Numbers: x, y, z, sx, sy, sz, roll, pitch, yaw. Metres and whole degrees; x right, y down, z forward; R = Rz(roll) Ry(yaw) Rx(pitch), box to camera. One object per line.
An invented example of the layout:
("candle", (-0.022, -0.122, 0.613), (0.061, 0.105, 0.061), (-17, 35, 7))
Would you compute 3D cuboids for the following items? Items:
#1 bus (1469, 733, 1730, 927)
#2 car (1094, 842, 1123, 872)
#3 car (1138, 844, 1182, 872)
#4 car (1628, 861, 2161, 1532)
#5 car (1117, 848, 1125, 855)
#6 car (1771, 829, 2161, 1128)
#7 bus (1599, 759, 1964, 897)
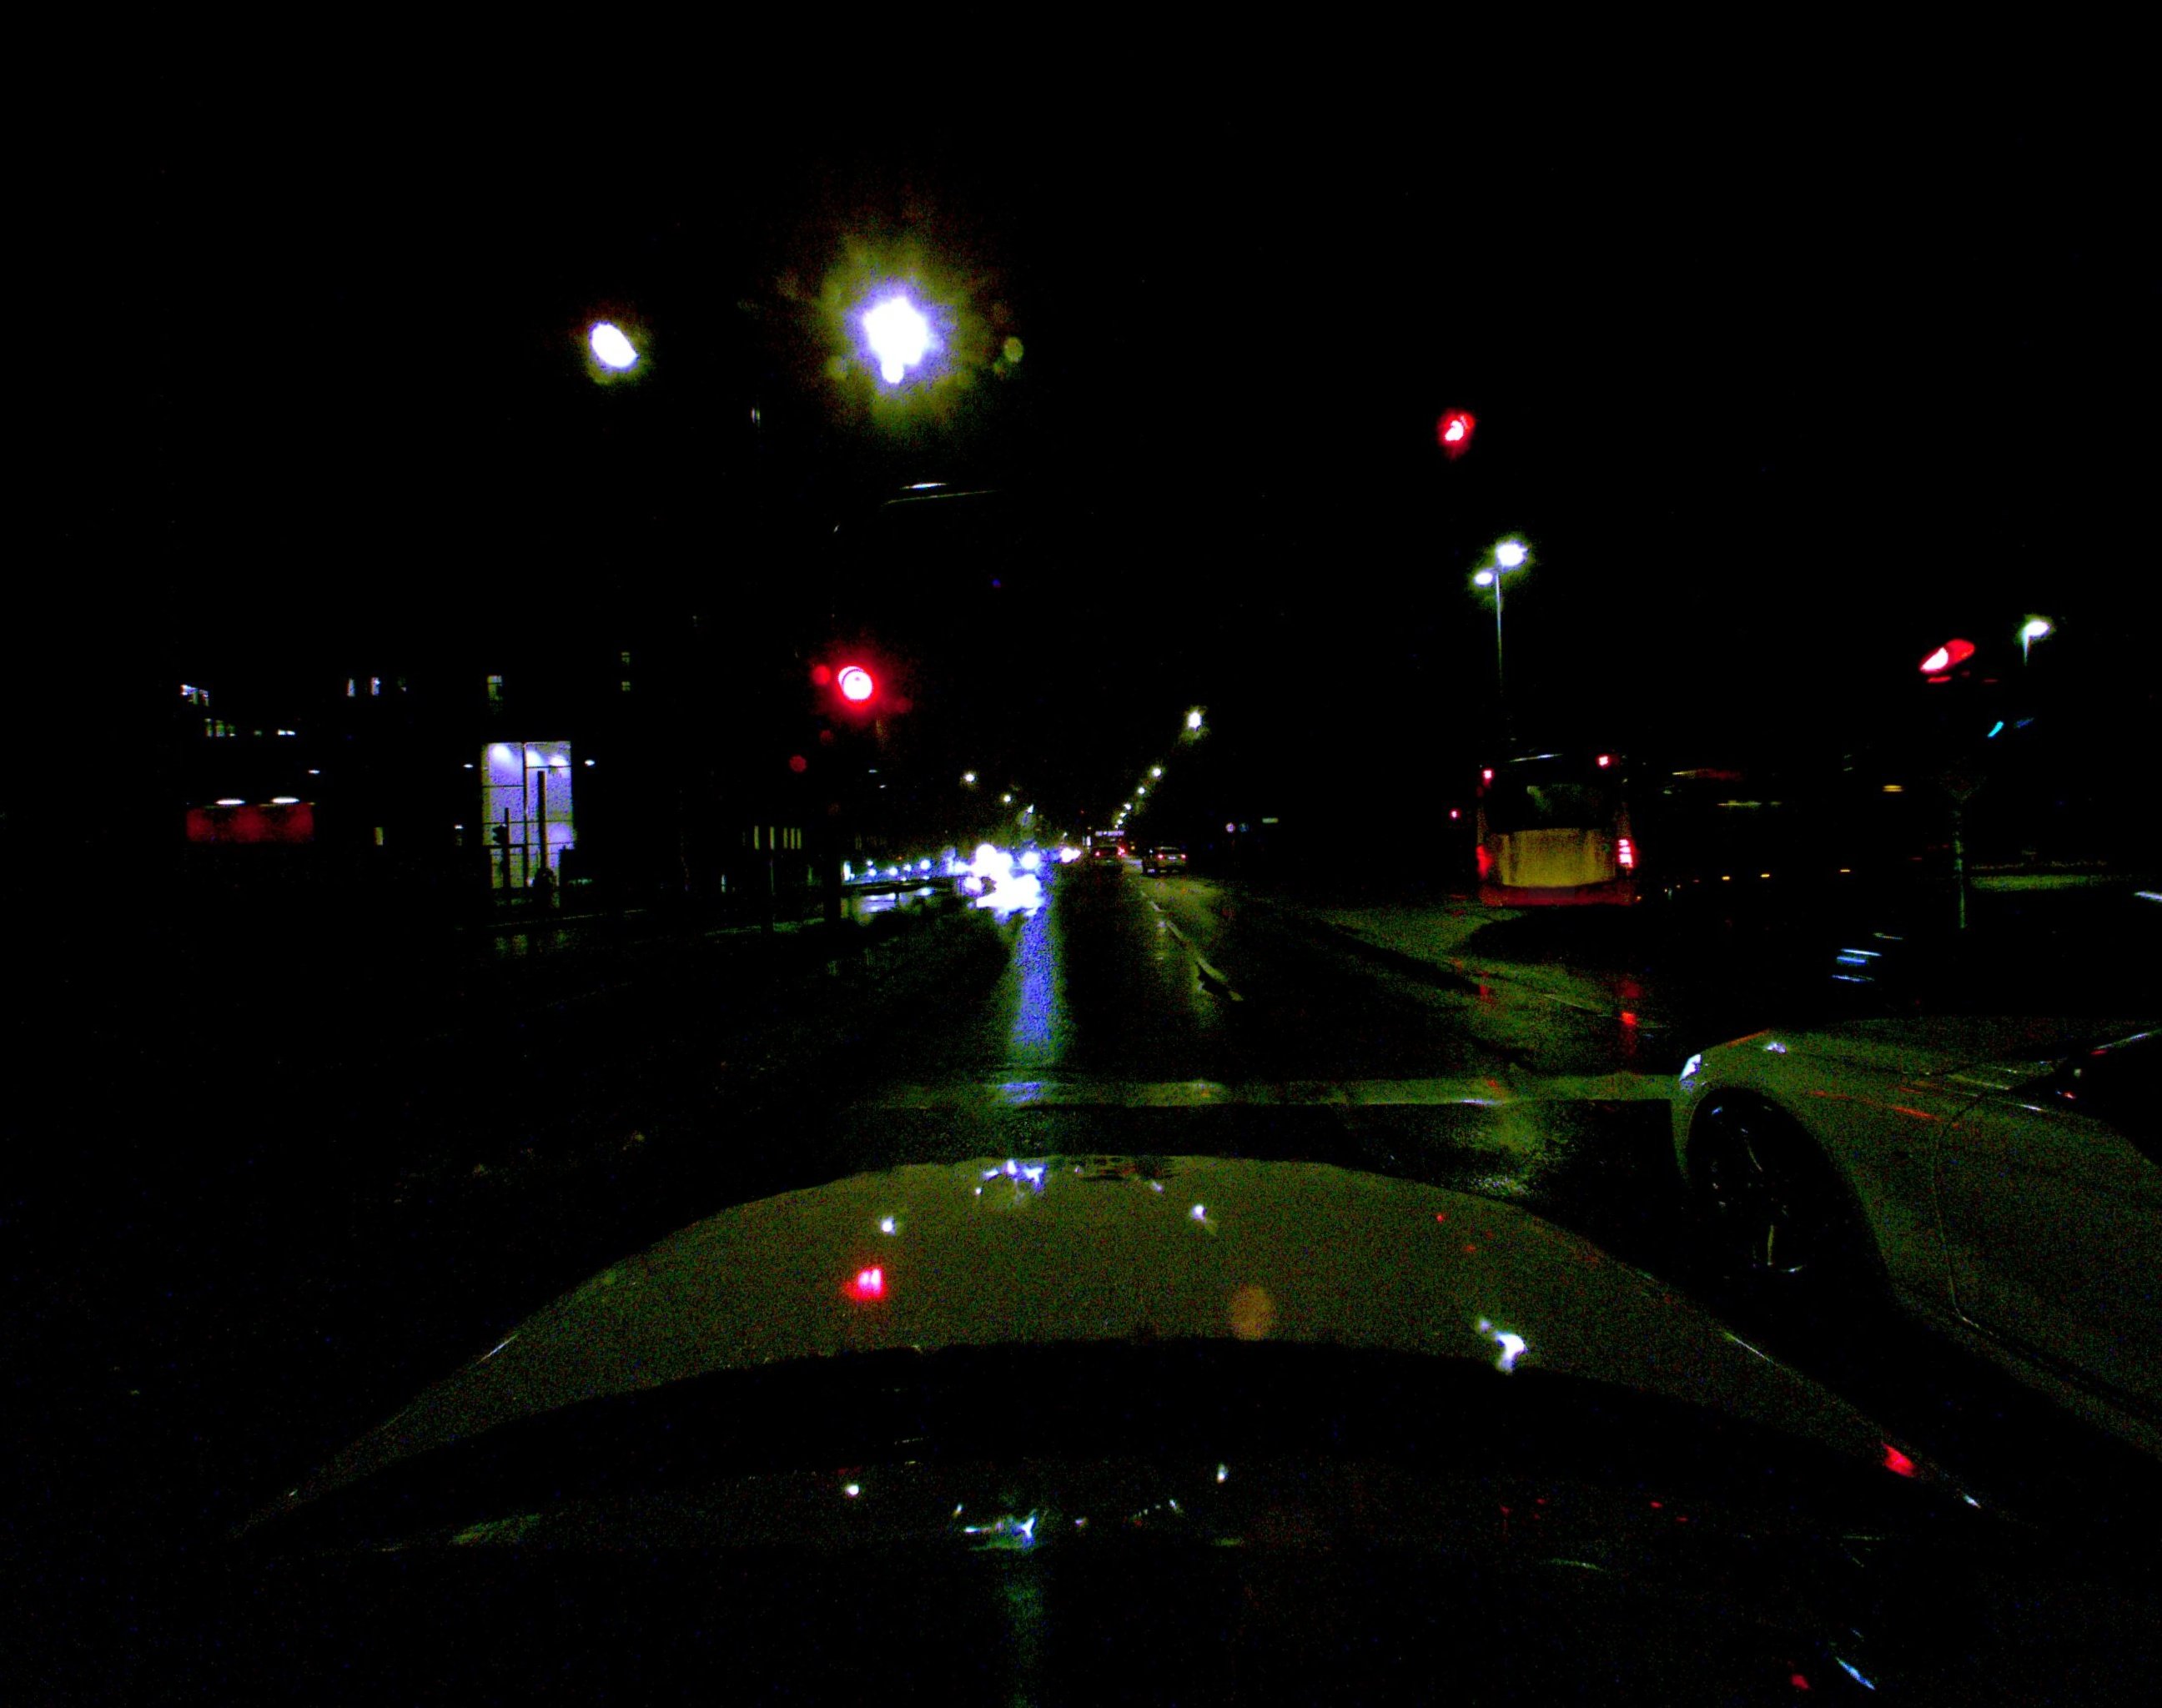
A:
("bus", (11.603, -0.419, 17.582), (2.743, 3.123, 9.819), (0, 0, 45))
("car", (1.770, 0.194, 53.925), (1.785, 1.874, 4.626), (0, -1, 0))
("car", (4.868, 0.268, 50.686), (1.789, 1.679, 4.416), (0, -1, -8))
("car", (3.120, 0.721, 1.275), (1.710, 1.404, 4.351), (0, -1, 2))
("car", (10.834, -0.595, 220.857), (1.986, 1.759, 4.001), (0, -1, 2))
("car", (6.256, 0.609, 3.916), (1.833, 1.478, 4.624), (0, -1, -3))
("bus", (18.486, -0.642, 21.407), (9.759, 3.123, 2.760), (-1, 0, -19))
